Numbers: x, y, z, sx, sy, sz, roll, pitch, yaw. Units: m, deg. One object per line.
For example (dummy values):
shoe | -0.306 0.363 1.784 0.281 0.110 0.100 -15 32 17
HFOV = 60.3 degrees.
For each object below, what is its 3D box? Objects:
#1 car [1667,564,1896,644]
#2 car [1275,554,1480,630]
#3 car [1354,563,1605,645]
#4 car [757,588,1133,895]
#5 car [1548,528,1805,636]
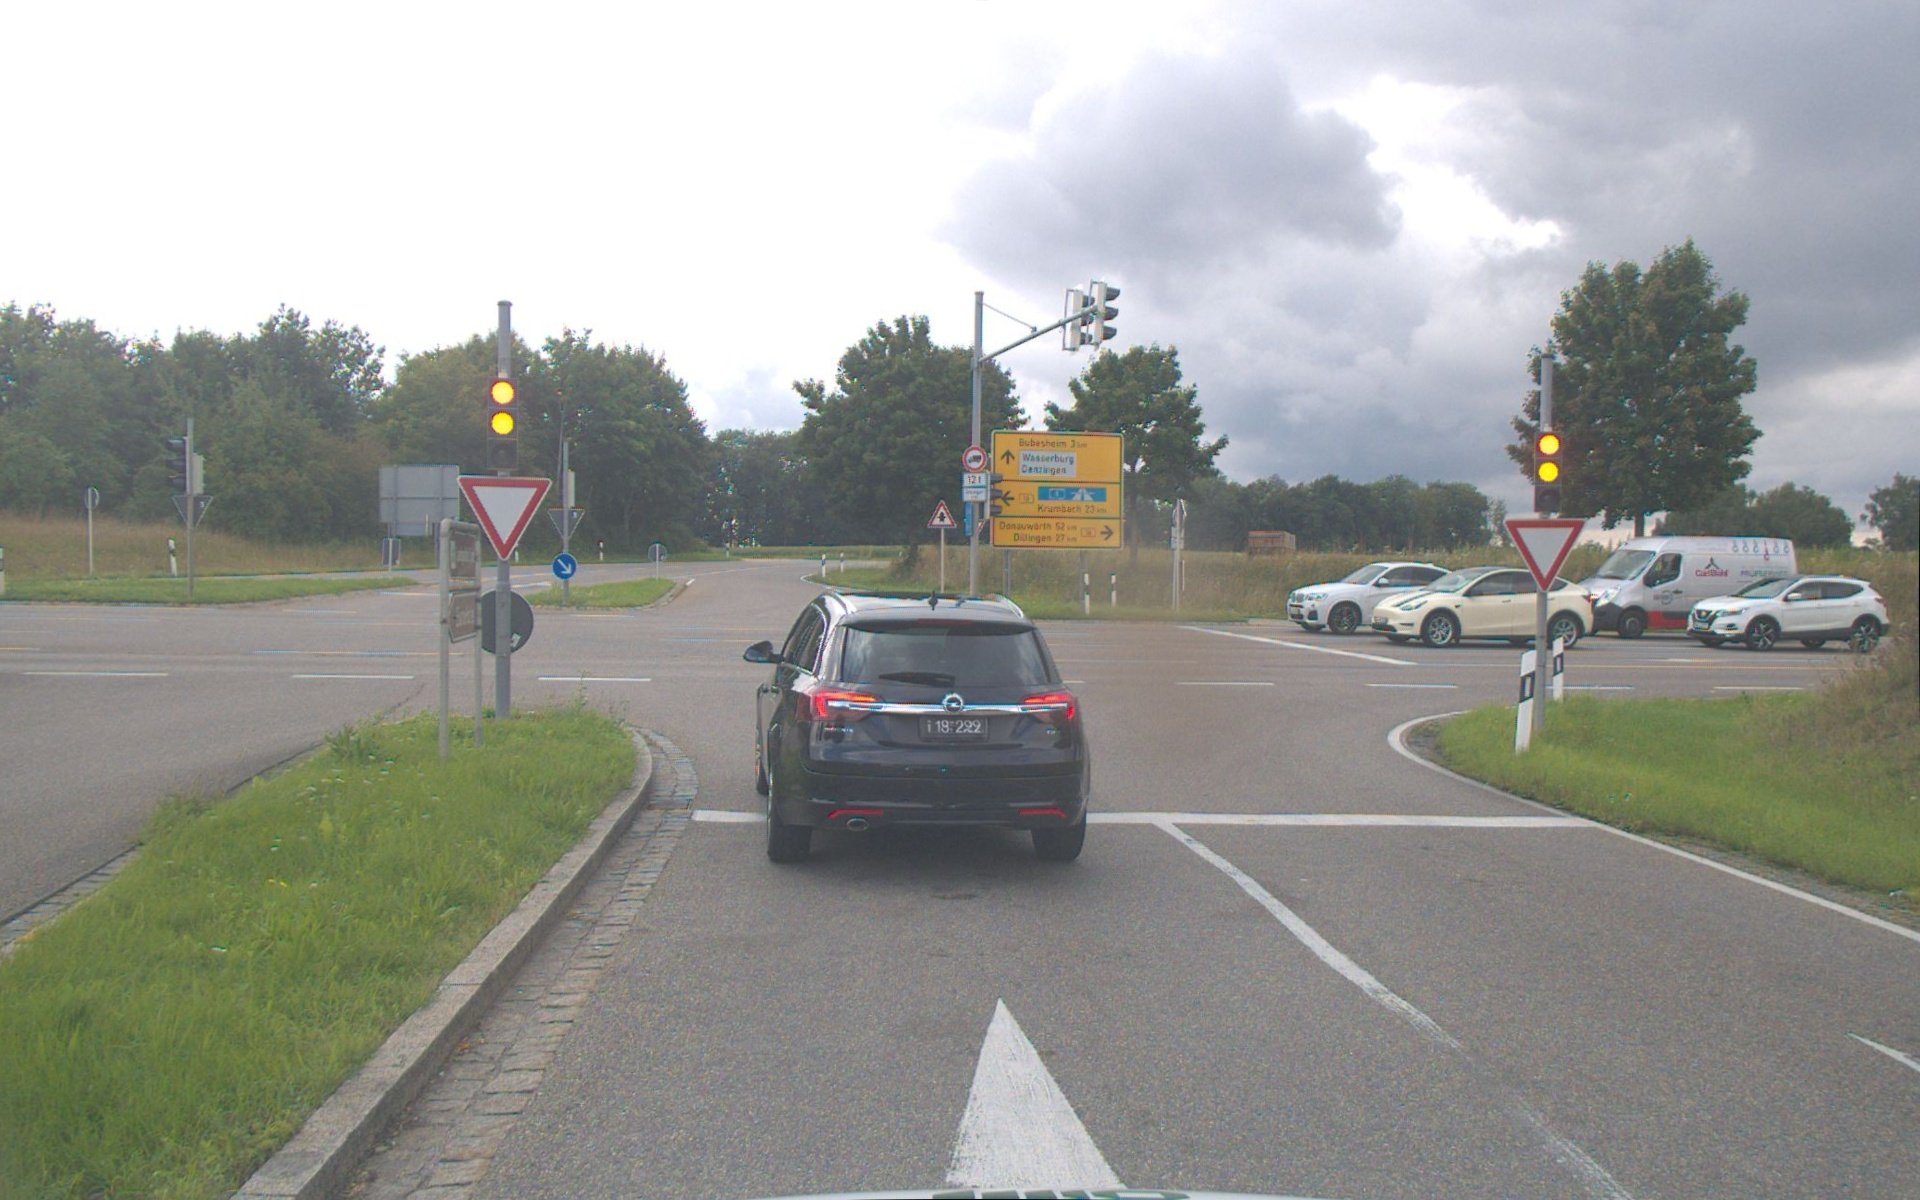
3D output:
car | 18.111 0.080 36.521 4.234 1.658 1.994 1 0 -13
car | 9.643 -0.183 38.321 4.188 1.657 1.993 1 0 -14
car | 10.837 0.076 34.588 4.651 1.592 1.994 1 0 -13
car | -0.320 0.692 10.344 1.774 1.476 4.265 1 1 -8
car | 17.508 -0.432 40.526 5.398 2.484 2.391 1 0 -12
